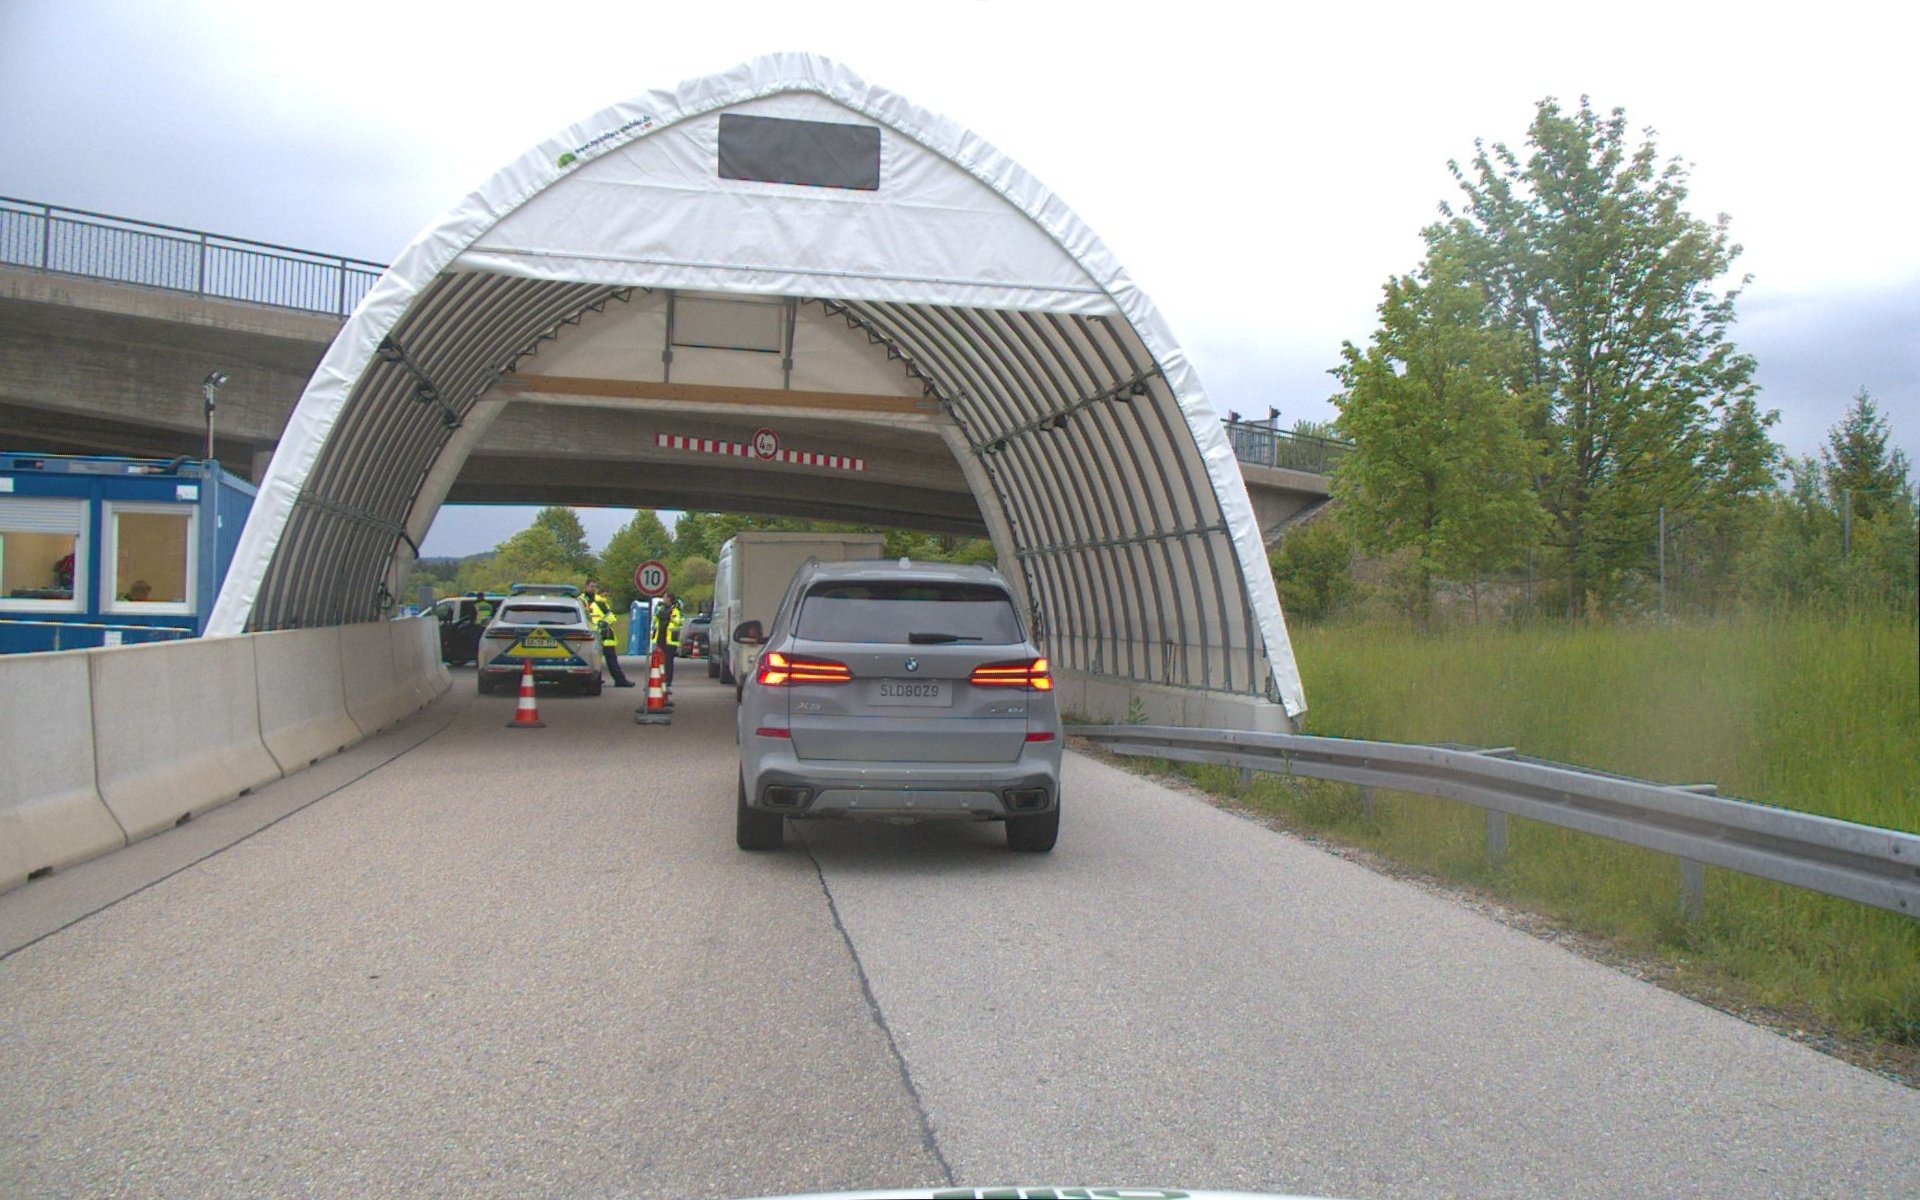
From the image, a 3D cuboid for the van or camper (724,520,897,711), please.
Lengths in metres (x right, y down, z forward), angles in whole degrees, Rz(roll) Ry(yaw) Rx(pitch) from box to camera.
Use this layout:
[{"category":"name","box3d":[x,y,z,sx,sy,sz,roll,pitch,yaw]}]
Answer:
[{"category":"van or camper","box3d":[-2.500,0.230,25.927,2.189,2.597,6.595,0,0,-10]}]

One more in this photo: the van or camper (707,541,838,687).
[{"category":"van or camper","box3d":[-3.733,0.264,32.040,2.066,2.563,5.535,0,0,-11]}]

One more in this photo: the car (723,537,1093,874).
[{"category":"car","box3d":[-0.548,0.576,10.958,1.957,1.796,3.991,0,0,-9]}]

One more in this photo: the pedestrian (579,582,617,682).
[{"category":"pedestrian","box3d":[-6.543,0.581,29.879,0.597,1.784,0.665,0,-1,-6]}]

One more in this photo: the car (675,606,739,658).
[{"category":"car","box3d":[-8.940,1.109,58.318,1.959,1.752,3.883,0,0,-13]}]

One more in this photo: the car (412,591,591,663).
[{"category":"car","box3d":[-13.460,0.778,48.713,4.703,2.049,1.842,0,-1,7]}]

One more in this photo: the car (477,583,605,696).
[{"category":"car","box3d":[-6.745,0.596,26.638,1.846,1.675,3.984,0,0,-15]}]

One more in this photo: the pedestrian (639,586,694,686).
[{"category":"pedestrian","box3d":[-5.227,0.640,29.456,0.763,1.752,0.757,0,-1,9]}]

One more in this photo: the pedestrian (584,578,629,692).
[{"category":"pedestrian","box3d":[-6.162,0.599,28.832,0.736,1.952,0.760,0,-1,-15]}]

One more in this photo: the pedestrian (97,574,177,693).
[{"category":"pedestrian","box3d":[-9.837,0.399,19.788,0.597,1.397,0.628,0,-1,8]}]

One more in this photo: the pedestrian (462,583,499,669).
[{"category":"pedestrian","box3d":[-11.565,0.623,39.881,0.686,2.049,0.692,0,-1,-1]}]
